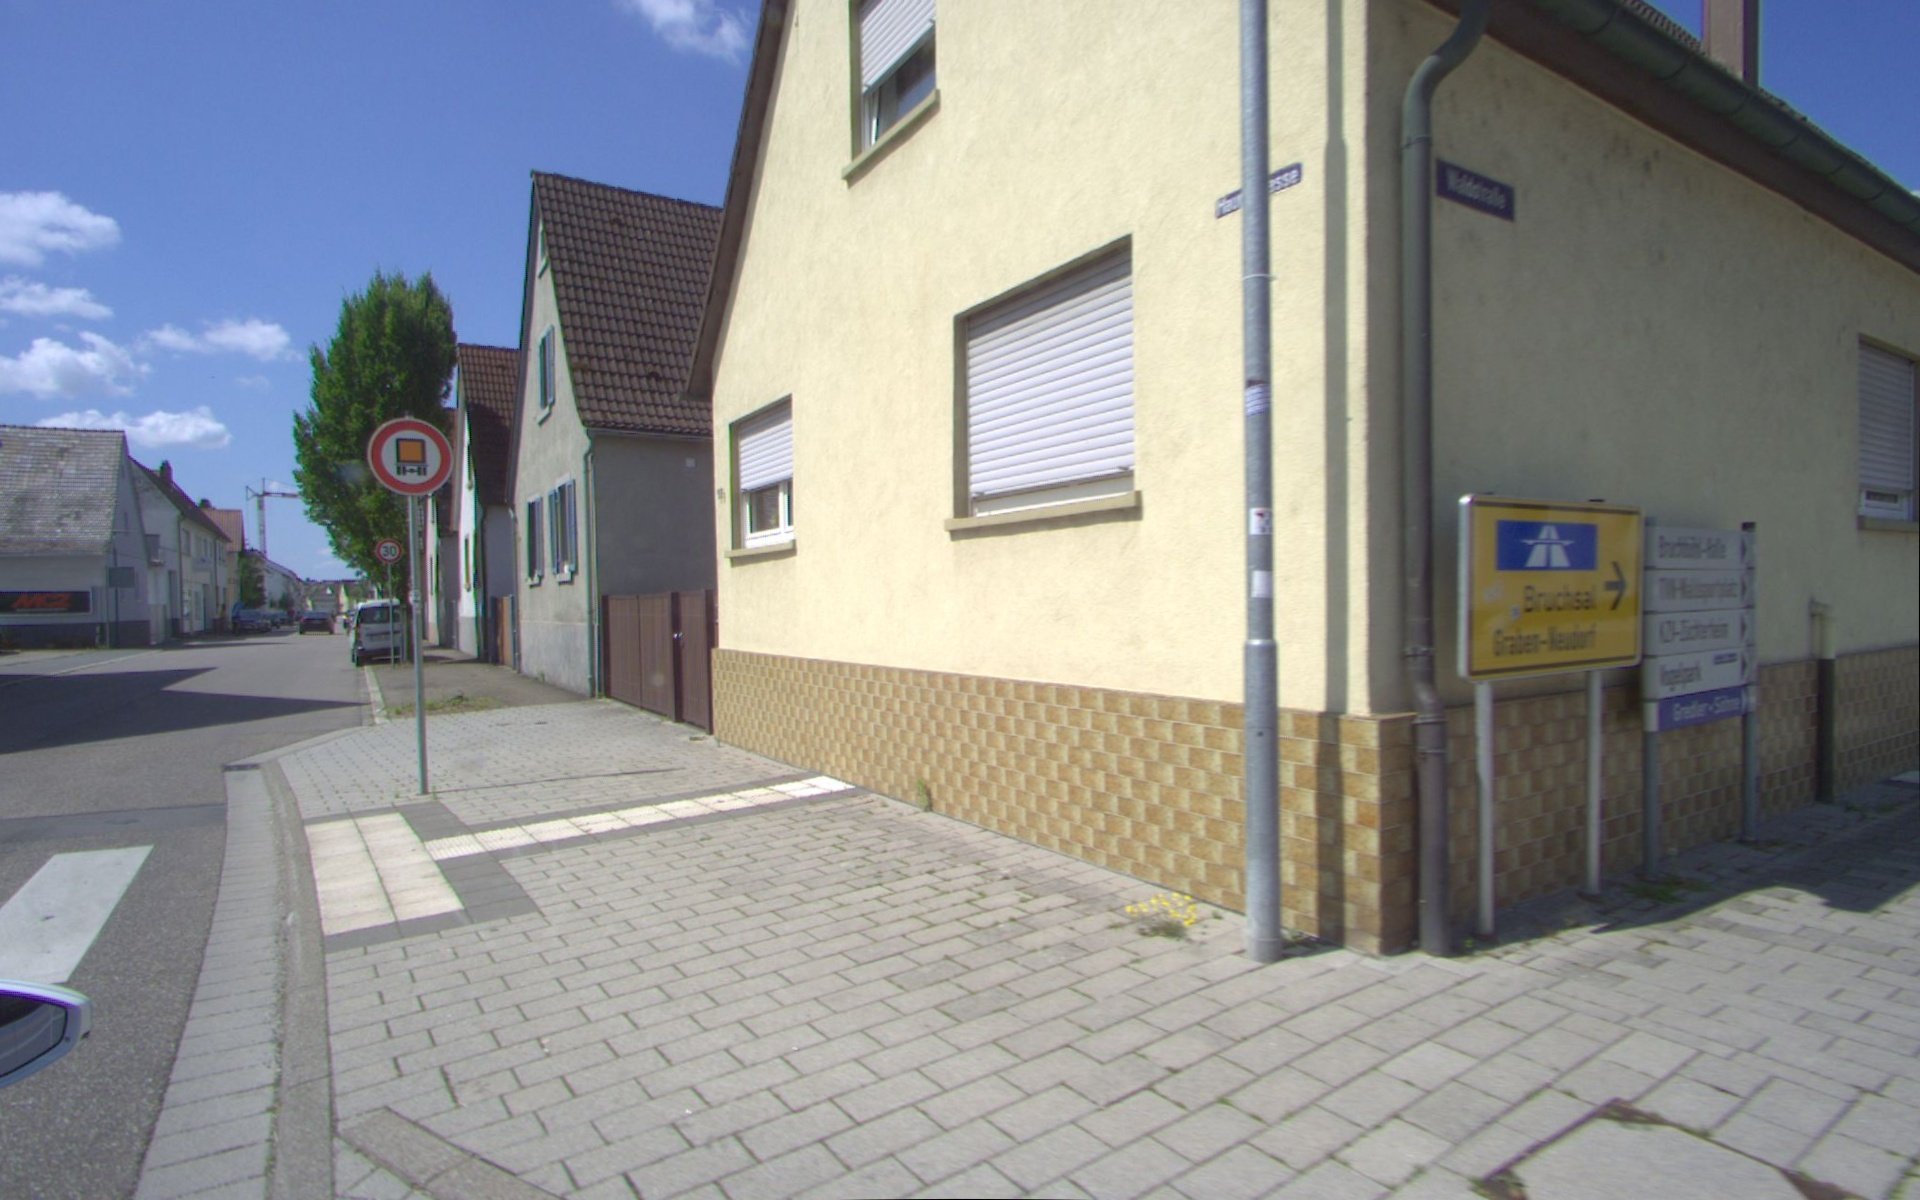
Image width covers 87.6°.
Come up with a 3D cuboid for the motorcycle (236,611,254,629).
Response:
[{"bbox_3d":[-47.045,1.322,65.891,0.837,1.185,2.454,1,-1,-33],"label":"motorcycle"}]

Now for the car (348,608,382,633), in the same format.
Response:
[{"bbox_3d":[-35.983,1.216,60.644,1.700,1.481,4.135,0,0,-30],"label":"car"}]

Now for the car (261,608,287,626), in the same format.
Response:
[{"bbox_3d":[-61.912,1.530,90.419,1.790,1.610,3.976,0,0,-32],"label":"car"}]

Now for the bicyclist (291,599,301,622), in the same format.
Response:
[{"bbox_3d":[-61.808,0.958,93.197,0.732,2.086,0.839,1,-1,-32],"label":"bicyclist"}]

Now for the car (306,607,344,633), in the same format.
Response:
[{"bbox_3d":[-40.560,1.236,64.035,1.881,1.584,4.452,0,0,-30],"label":"car"}]

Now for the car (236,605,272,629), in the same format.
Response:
[{"bbox_3d":[-48.814,1.161,69.326,1.790,1.610,3.976,0,0,-32],"label":"car"}]

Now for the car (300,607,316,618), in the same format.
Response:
[{"bbox_3d":[-97.742,1.812,150.126,1.790,1.610,3.976,0,0,-32],"label":"car"}]

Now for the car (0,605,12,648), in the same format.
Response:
[{"bbox_3d":[-36.275,0.966,36.530,1.702,1.576,4.172,1,-1,-33],"label":"car"}]

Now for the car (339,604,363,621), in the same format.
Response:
[{"bbox_3d":[-51.144,1.051,84.148,1.701,1.373,4.133,0,0,-31],"label":"car"}]

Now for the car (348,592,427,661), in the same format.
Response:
[{"bbox_3d":[-16.868,0.736,29.422,1.701,1.814,4.118,-3,1,-33],"label":"car"}]

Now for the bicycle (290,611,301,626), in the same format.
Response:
[{"bbox_3d":[-61.769,1.726,93.108,0.743,1.325,2.670,1,-1,-32],"label":"bicycle"}]

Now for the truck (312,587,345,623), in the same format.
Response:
[{"bbox_3d":[-79.296,0.681,125.902,3.111,4.305,9.253,1,-1,-30],"label":"truck"}]
